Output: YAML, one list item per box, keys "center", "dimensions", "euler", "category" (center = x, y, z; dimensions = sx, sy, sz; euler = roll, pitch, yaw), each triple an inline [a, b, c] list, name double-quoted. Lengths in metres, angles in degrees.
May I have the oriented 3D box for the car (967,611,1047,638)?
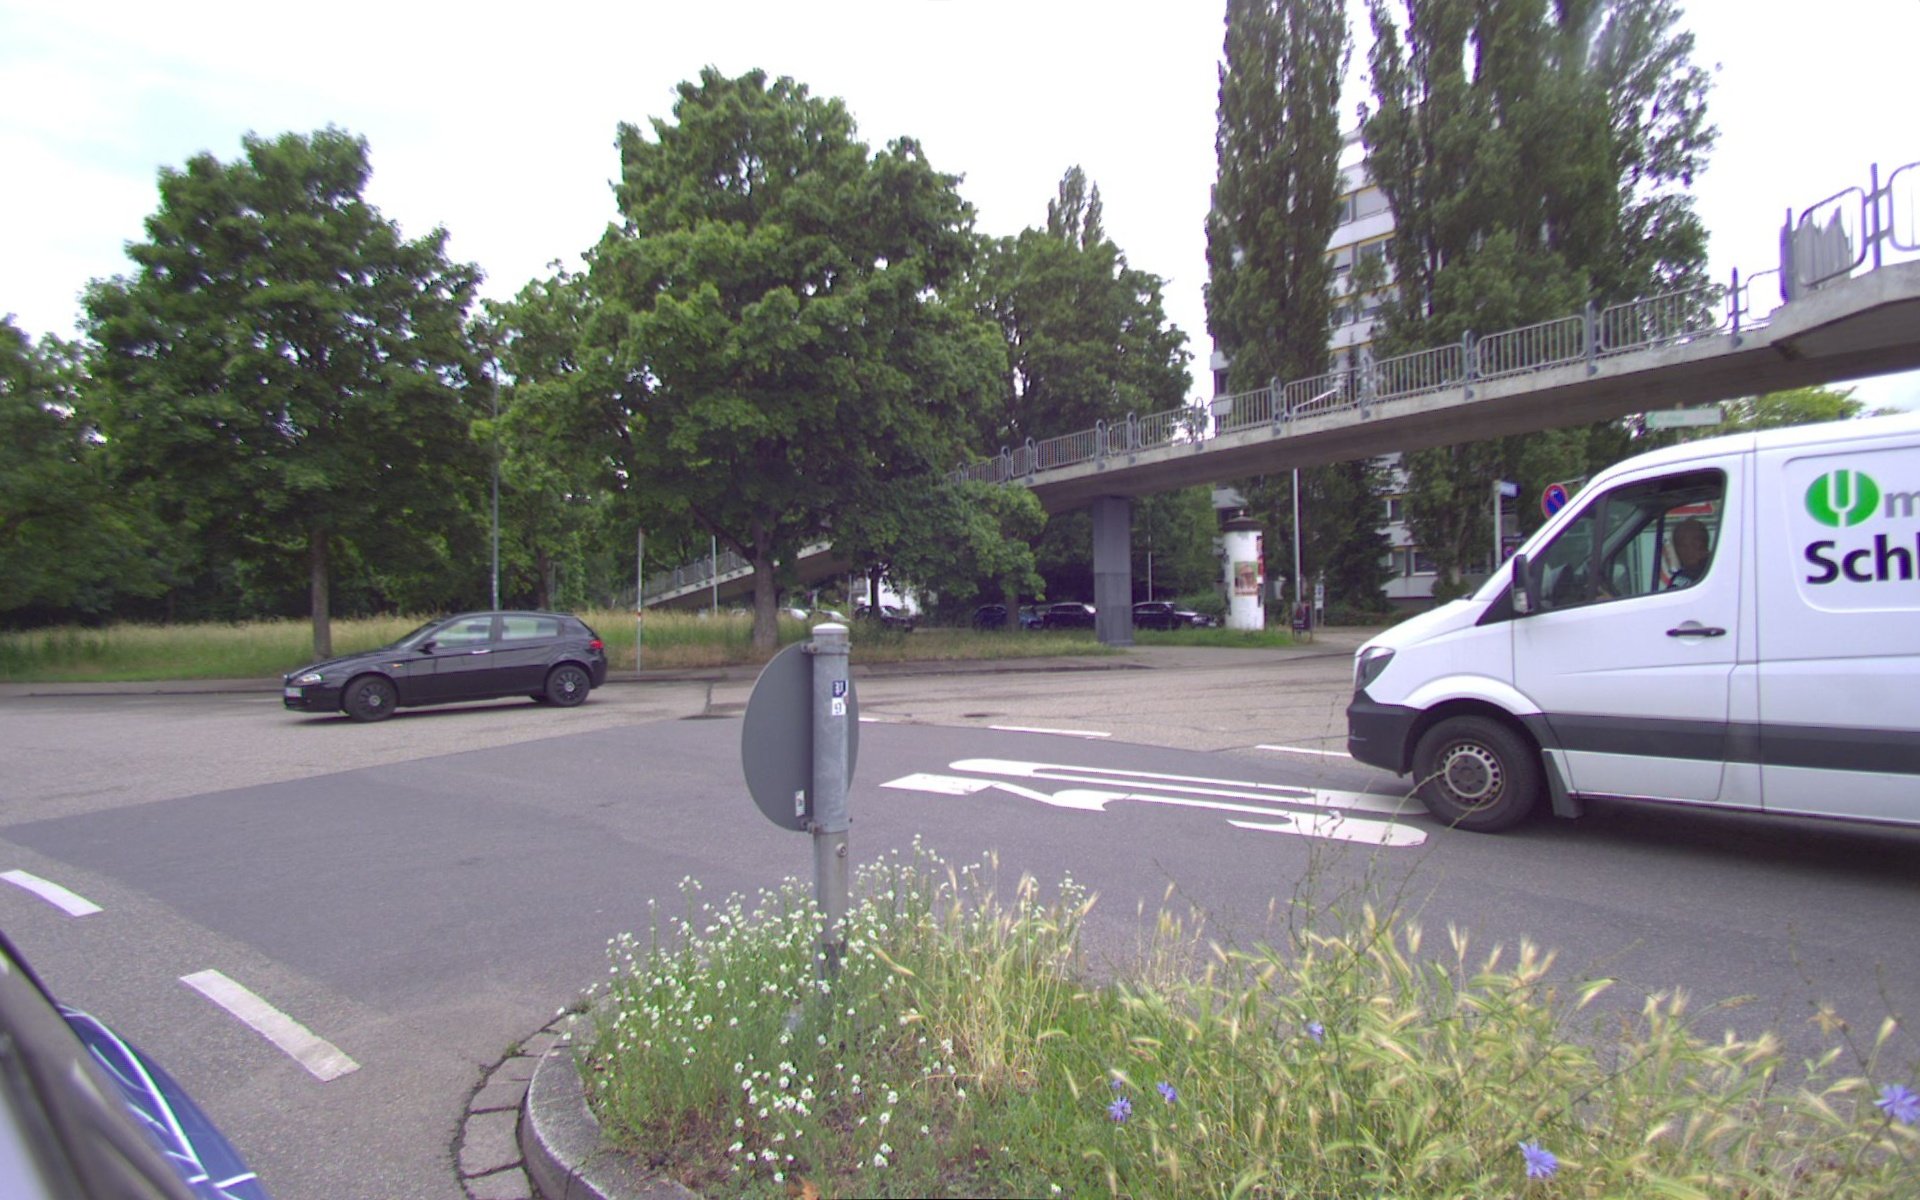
- center: [2.275, 1.180, 49.886]
  dimensions: [1.667, 1.247, 4.007]
  euler: [-1, 0, -39]
  category: "car"

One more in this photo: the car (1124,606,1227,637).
- center: [8.875, 0.888, 41.942]
  dimensions: [1.667, 1.214, 4.007]
  euler: [-1, 0, -39]
  category: "car"

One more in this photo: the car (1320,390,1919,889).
- center: [4.987, 0.187, 5.625]
  dimensions: [5.210, 2.310, 2.110]
  euler: [-2, -1, 45]
  category: "car"

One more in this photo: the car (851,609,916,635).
- center: [-4.392, 1.251, 57.459]
  dimensions: [1.667, 1.361, 4.007]
  euler: [-1, 0, -39]
  category: "car"

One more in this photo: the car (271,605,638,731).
- center: [-7.157, 0.860, 14.523]
  dimensions: [4.466, 1.468, 1.808]
  euler: [-1, -1, -36]
  category: "car"

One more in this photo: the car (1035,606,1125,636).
- center: [5.425, 0.948, 46.173]
  dimensions: [1.667, 1.256, 4.007]
  euler: [-1, 0, -39]
  category: "car"
